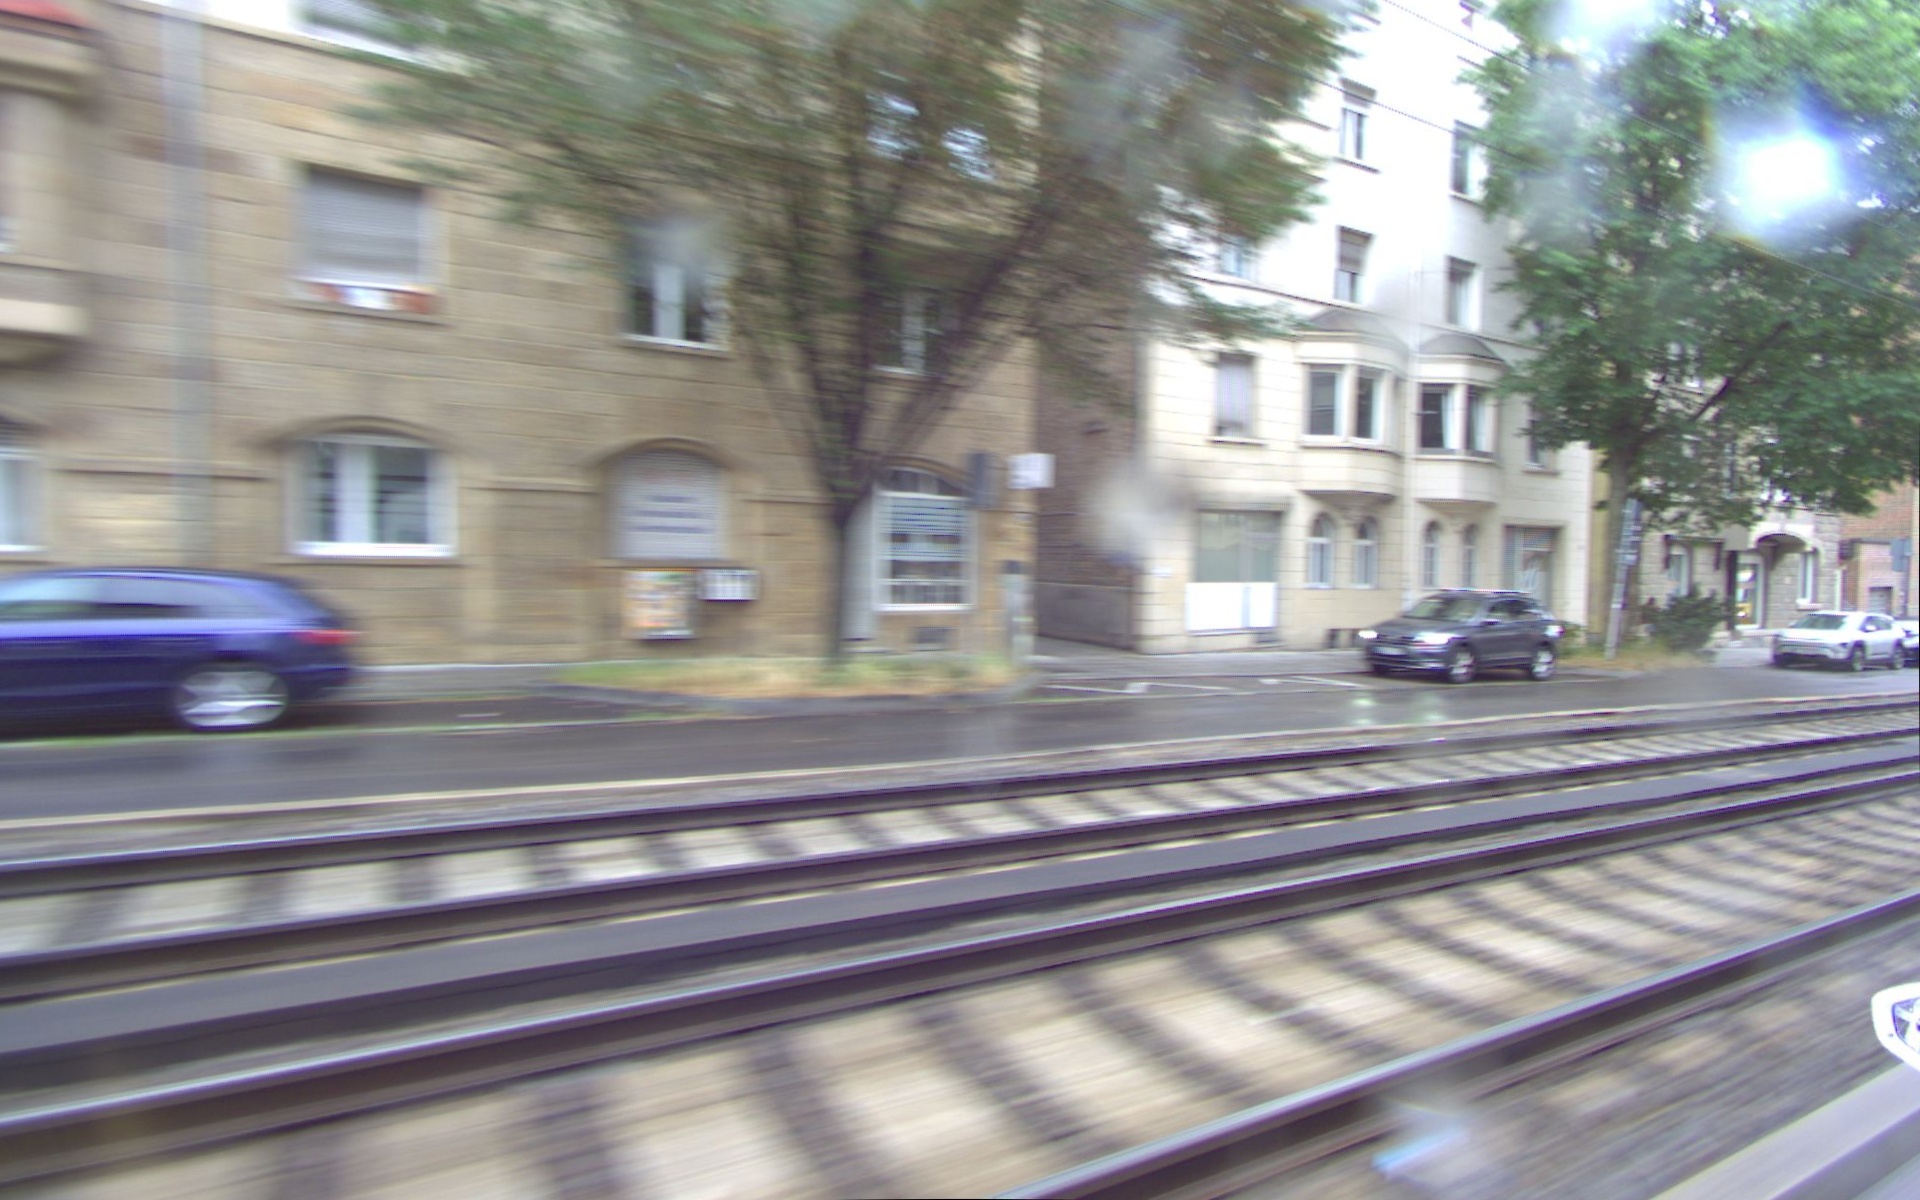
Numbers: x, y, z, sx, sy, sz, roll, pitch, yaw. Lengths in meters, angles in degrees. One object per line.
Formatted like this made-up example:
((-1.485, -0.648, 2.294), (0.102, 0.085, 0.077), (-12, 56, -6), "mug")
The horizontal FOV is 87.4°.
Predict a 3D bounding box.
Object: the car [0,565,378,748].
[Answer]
((-8.047, 0.452, 8.934), (4.922, 1.479, 1.771), (2, 0, -32), "car")

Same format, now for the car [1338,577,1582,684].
((9.758, 0.541, 19.518), (4.724, 1.765, 1.942), (1, 4, -31), "car")

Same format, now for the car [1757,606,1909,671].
((24.477, 1.036, 28.144), (4.279, 1.627, 1.951), (1, 1, -31), "car")

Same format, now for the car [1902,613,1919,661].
((32.044, 1.215, 32.467), (3.010, 1.486, 1.564), (1, 1, -31), "car")

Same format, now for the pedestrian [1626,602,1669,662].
((20.069, 0.925, 29.318), (0.761, 1.685, 0.725), (1, 1, -30), "pedestrian")

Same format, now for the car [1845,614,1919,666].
((28.809, 1.189, 30.633), (3.644, 1.434, 1.658), (1, 1, -30), "car")
